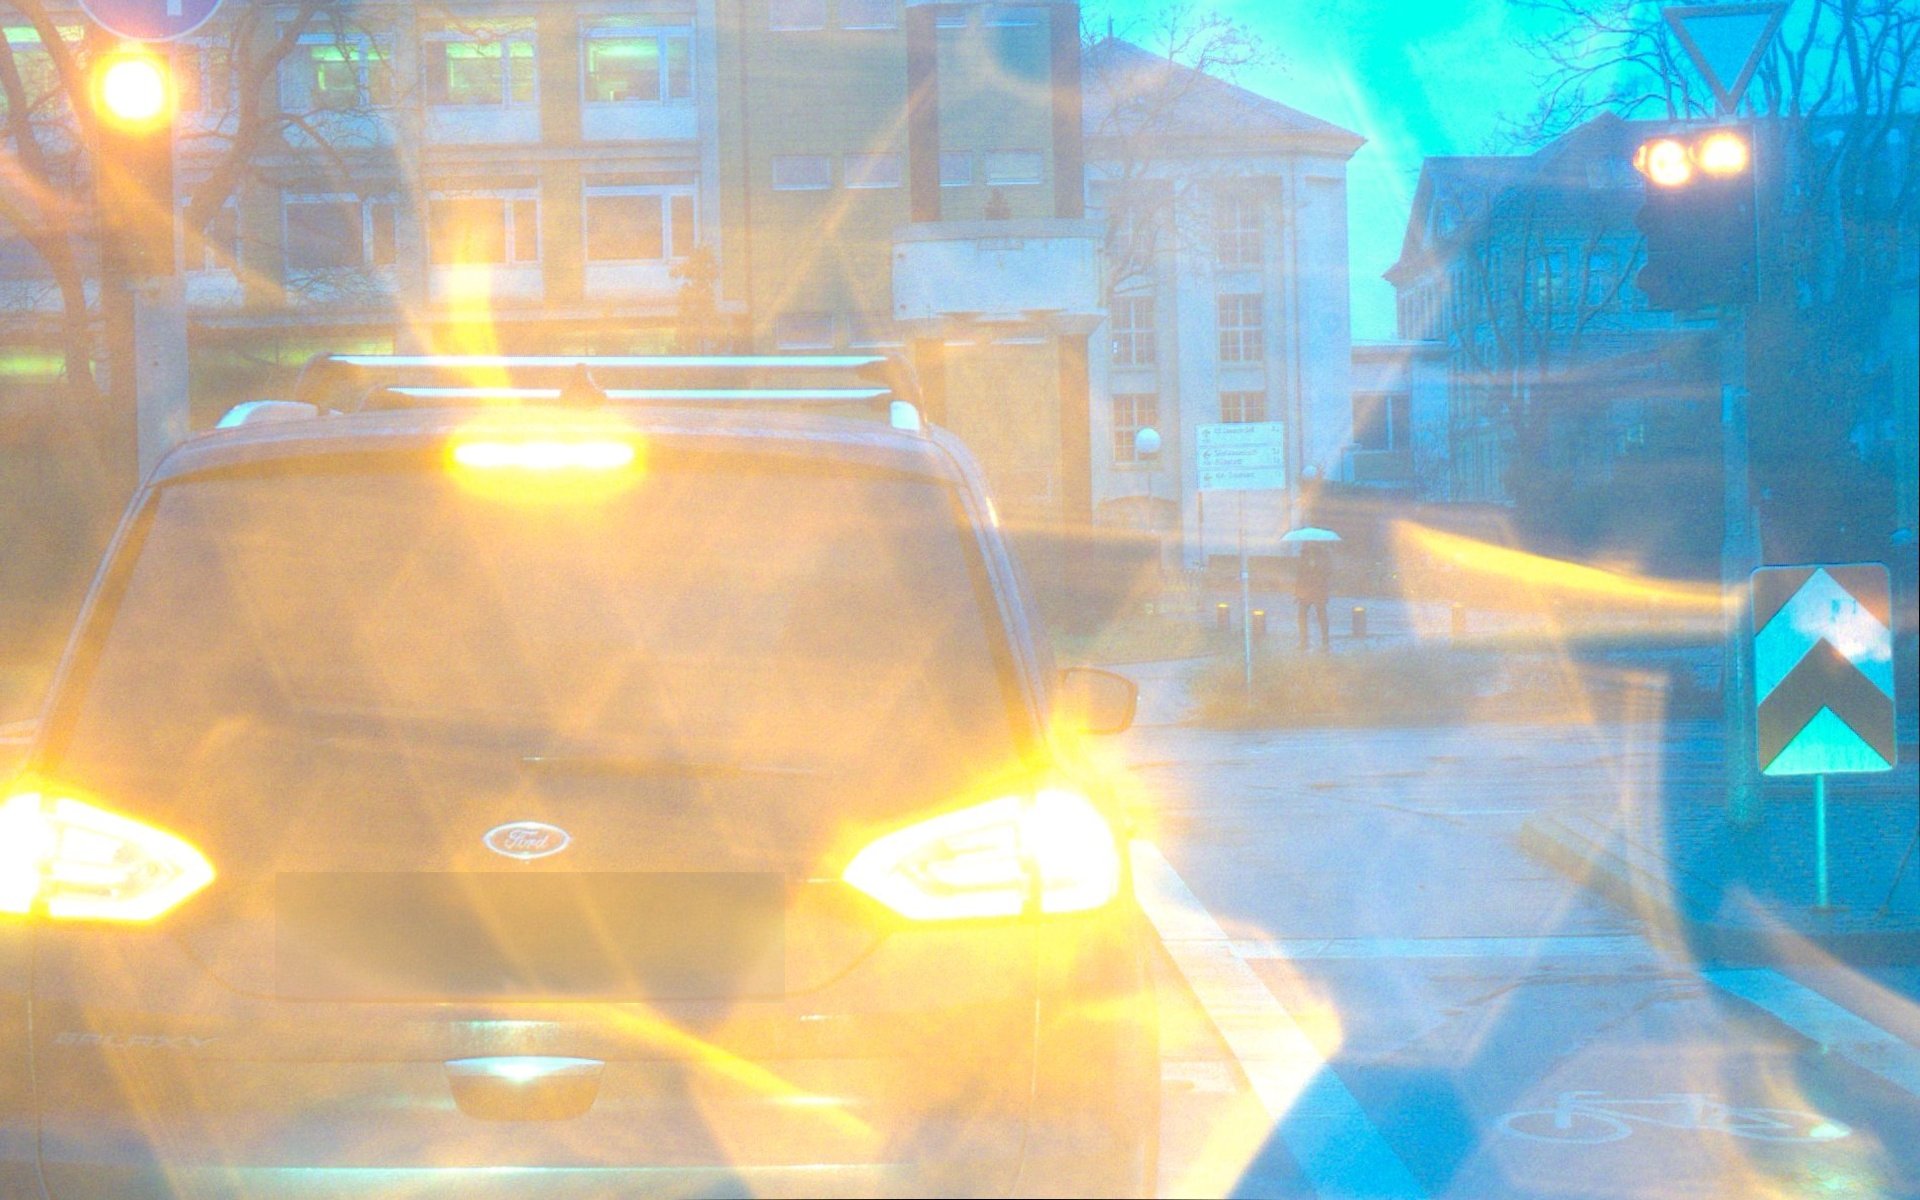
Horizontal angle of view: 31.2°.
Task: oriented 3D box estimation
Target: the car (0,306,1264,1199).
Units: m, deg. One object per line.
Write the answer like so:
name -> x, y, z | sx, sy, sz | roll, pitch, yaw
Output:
car -> -0.627, 0.491, 6.565 | 1.993, 1.783, 4.000 | 1, 1, -1

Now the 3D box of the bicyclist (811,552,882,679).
bicyclist -> -1.464, 0.195, 44.368 | 0.685, 1.594, 0.659 | -2, 1, 16

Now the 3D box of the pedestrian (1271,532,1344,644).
pedestrian -> 5.175, -0.180, 51.133 | 0.721, 1.622, 0.760 | -1, 2, 40

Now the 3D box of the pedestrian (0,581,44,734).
pedestrian -> -12.232, 0.726, 42.796 | 1.002, 1.836, 1.138 | -2, 3, 23

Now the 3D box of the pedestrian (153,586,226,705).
pedestrian -> -10.727, 0.630, 47.872 | 0.760, 1.622, 0.557 | -2, 1, 13
